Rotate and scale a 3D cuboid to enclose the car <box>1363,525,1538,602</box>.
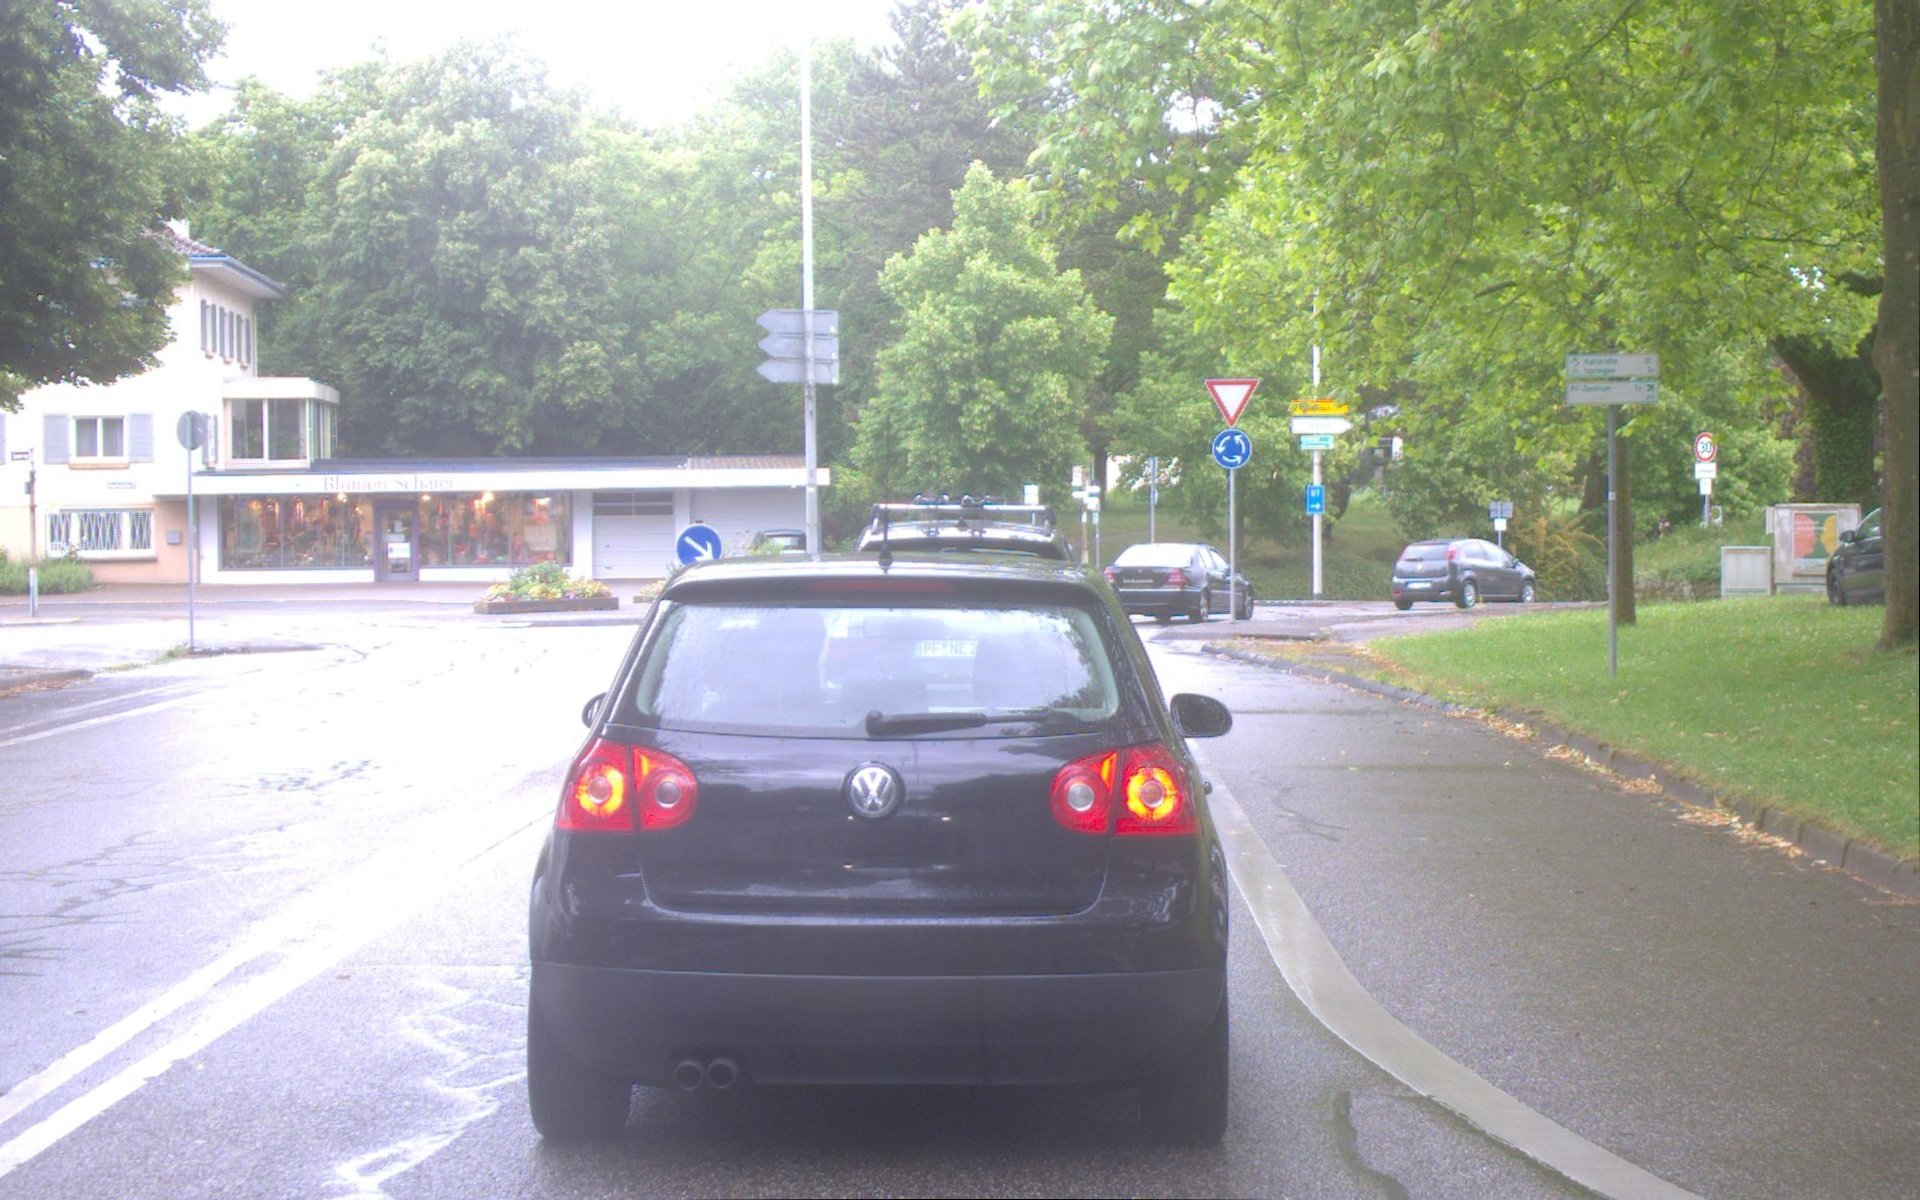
[{"bbox_3d":[10.228,-0.747,71.452,1.997,1.525,3.992,1,1,35],"label":"car"}]

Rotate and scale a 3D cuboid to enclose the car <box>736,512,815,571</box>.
[{"bbox_3d":[-4.899,-1.548,90.934,1.812,1.481,3.832,-2,1,-6],"label":"car"}]

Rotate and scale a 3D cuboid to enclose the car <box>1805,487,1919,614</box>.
[{"bbox_3d":[11.921,-0.637,42.383,1.764,1.466,4.598,-2,1,-1],"label":"car"}]

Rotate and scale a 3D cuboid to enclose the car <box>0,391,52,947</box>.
[{"bbox_3d":[-4.455,0.301,10.744,1.993,2.007,4.574,-2,1,-1],"label":"car"}]

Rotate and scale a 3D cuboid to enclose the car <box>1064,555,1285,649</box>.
[{"bbox_3d":[3.728,0.027,59.164,1.997,1.525,3.992,1,1,35],"label":"car"}]

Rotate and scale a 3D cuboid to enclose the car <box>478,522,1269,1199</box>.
[{"bbox_3d":[-0.226,0.582,9.785,1.764,1.533,4.000,1,1,-1],"label":"car"}]

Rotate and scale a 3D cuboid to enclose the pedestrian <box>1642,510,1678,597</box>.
[{"bbox_3d":[14.009,-0.930,68.785,0.634,1.707,0.529,1,0,17],"label":"pedestrian"}]

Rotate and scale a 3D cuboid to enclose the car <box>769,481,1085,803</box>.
[{"bbox_3d":[-0.219,0.217,21.800,1.764,1.795,4.246,-1,1,-1],"label":"car"}]
